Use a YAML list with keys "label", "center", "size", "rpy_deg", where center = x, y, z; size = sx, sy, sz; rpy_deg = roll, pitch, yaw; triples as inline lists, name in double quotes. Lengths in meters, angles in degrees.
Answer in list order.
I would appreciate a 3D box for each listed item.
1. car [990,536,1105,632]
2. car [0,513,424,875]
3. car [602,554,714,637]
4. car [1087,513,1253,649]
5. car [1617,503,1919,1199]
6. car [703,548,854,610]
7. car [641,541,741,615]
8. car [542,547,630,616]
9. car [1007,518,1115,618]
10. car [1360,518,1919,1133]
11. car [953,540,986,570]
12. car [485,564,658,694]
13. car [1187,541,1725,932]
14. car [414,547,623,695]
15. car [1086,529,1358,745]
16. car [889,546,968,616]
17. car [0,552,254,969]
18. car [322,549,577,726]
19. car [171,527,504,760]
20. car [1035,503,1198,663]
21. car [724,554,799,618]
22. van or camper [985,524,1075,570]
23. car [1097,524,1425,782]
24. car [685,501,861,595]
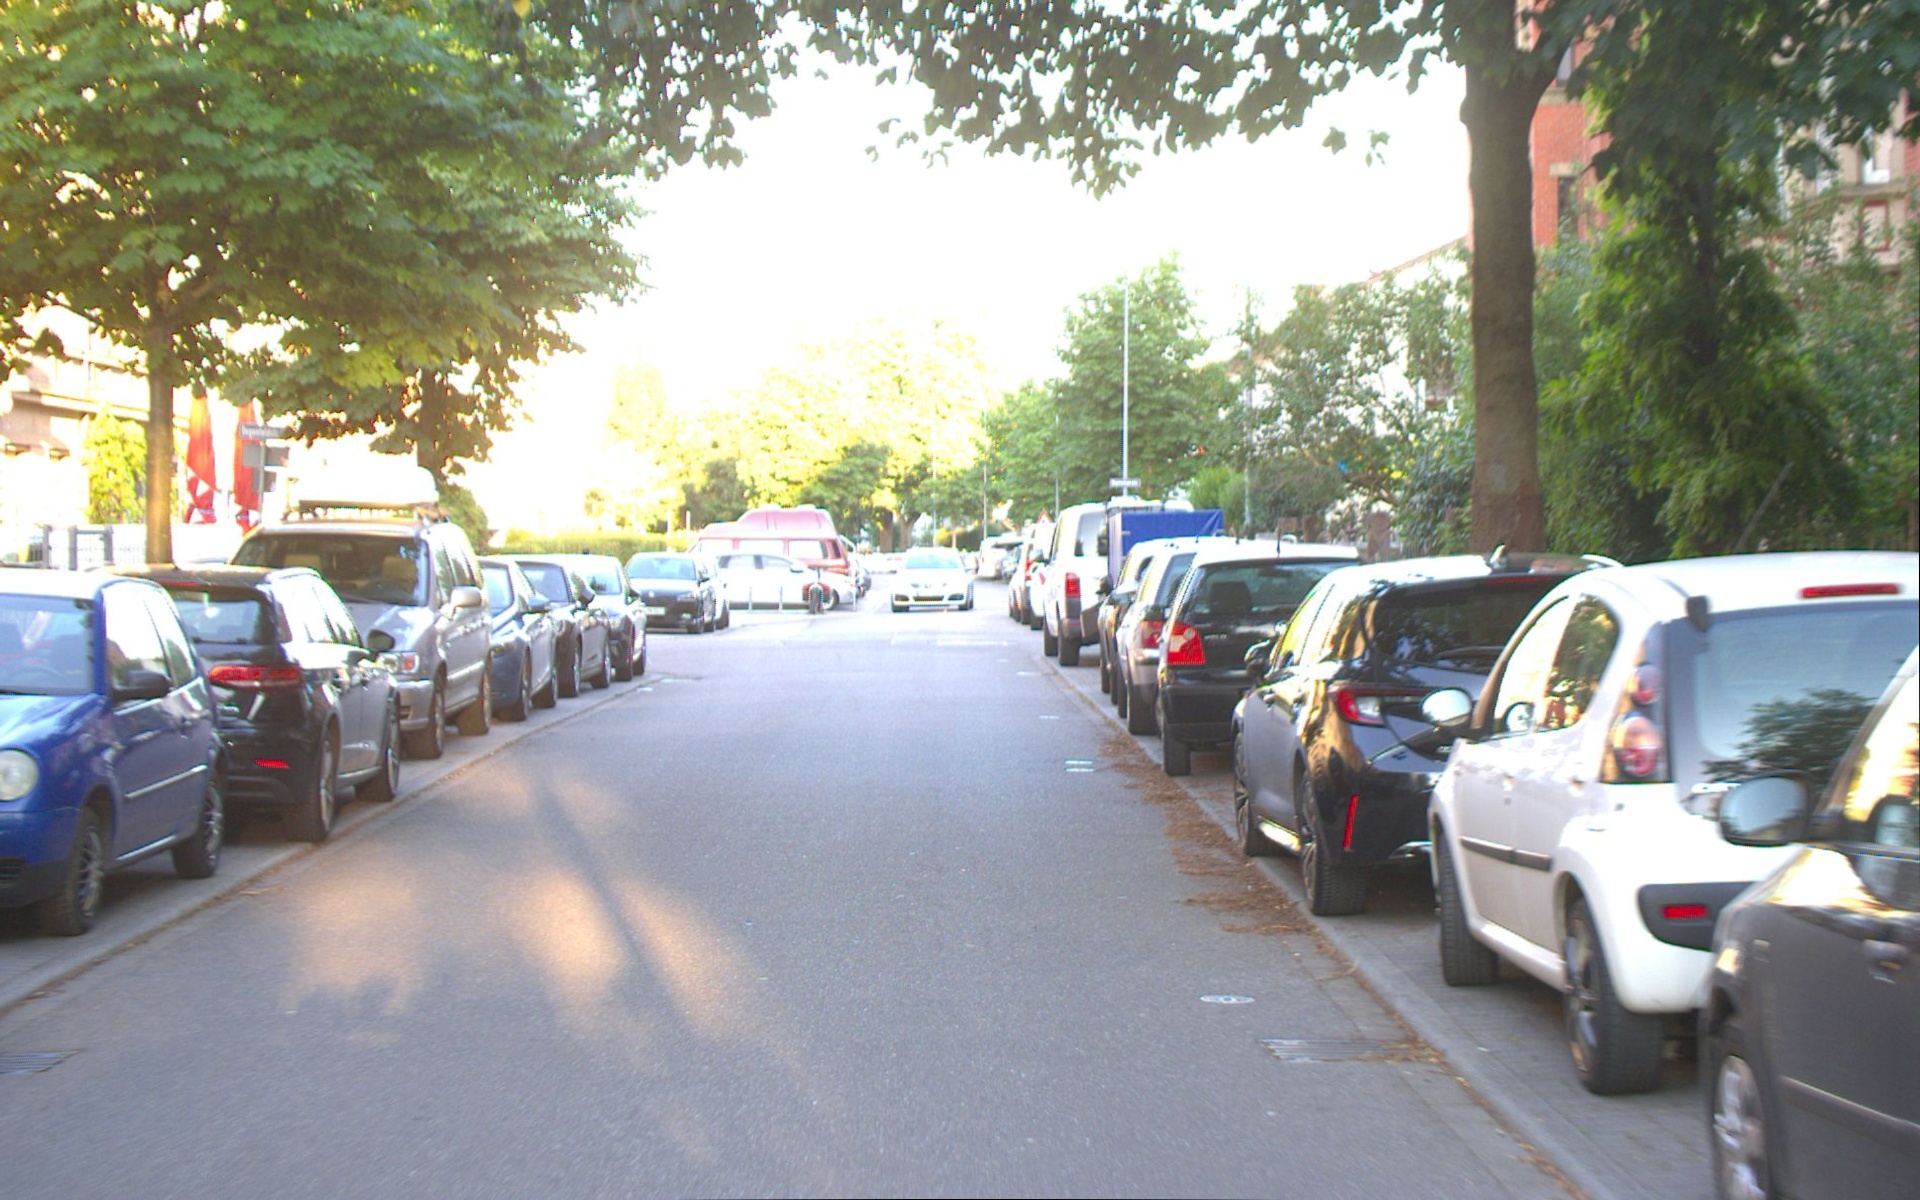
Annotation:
- label: "car"
  center: [1.487, -0.277, 59.589]
  size: [1.686, 1.600, 3.940]
  rpy_deg: [0, 0, -3]
- label: "car"
  center: [-4.148, 0.425, 19.072]
  size: [1.715, 1.784, 4.216]
  rpy_deg: [0, 1, 0]
- label: "car"
  center: [-5.534, -0.076, 63.240]
  size: [1.716, 1.481, 3.630]
  rpy_deg: [0, 0, 0]
- label: "car"
  center: [2.401, -0.226, 39.972]
  size: [1.538, 1.516, 3.432]
  rpy_deg: [0, 0, -3]
- label: "car"
  center: [2.357, 0.640, 5.987]
  size: [1.687, 1.600, 4.209]
  rpy_deg: [0, 0, 1]
- label: "car"
  center: [-4.409, -0.515, 83.479]
  size: [3.618, 1.456, 1.607]
  rpy_deg: [0, 1, -4]
- label: "car"
  center: [-5.400, -0.461, 69.320]
  size: [1.716, 1.436, 3.631]
  rpy_deg: [0, 1, 0]
- label: "car"
  center: [-8.117, -0.411, 74.797]
  size: [1.715, 1.436, 3.631]
  rpy_deg: [-1, 1, -4]
- label: "car"
  center: [1.848, -0.598, 64.139]
  size: [1.686, 1.805, 3.940]
  rpy_deg: [0, 0, -3]
- label: "car"
  center: [2.421, 0.571, 10.876]
  size: [1.686, 1.600, 3.749]
  rpy_deg: [0, 0, -3]
- label: "car"
  center: [0.479, -2.410, 182.842]
  size: [1.715, 1.590, 3.483]
  rpy_deg: [0, 1, 0]
- label: "car"
  center: [-4.593, 0.309, 41.059]
  size: [1.599, 1.436, 3.837]
  rpy_deg: [0, 1, 0]
- label: "car"
  center: [2.053, 0.509, 15.362]
  size: [1.687, 1.436, 4.210]
  rpy_deg: [-2, 0, -1]
- label: "car"
  center: [-4.517, 0.179, 35.599]
  size: [1.715, 1.436, 3.631]
  rpy_deg: [0, 1, 0]
- label: "car"
  center: [2.026, 0.259, 27.595]
  size: [1.686, 1.600, 3.940]
  rpy_deg: [0, 0, -3]
- label: "car"
  center: [-0.739, -0.469, 81.115]
  size: [1.813, 1.590, 3.483]
  rpy_deg: [0, 1, 0]
- label: "car"
  center: [-4.301, 0.586, 14.918]
  size: [1.715, 1.561, 3.788]
  rpy_deg: [0, 1, 0]
- label: "car"
  center: [-4.507, 0.289, 30.850]
  size: [1.715, 1.460, 3.987]
  rpy_deg: [0, 1, 0]
- label: "car"
  center: [-4.567, 0.263, 25.829]
  size: [1.715, 1.590, 4.519]
  rpy_deg: [0, 1, -1]
- label: "car"
  center: [1.945, -0.223, 43.693]
  size: [1.680, 1.934, 3.881]
  rpy_deg: [0, 0, -3]
- label: "car"
  center: [-4.657, -0.337, 80.472]
  size: [1.715, 1.436, 3.631]
  rpy_deg: [0, 1, -4]
- label: "van or camper"
  center: [4.232, -3.211, 208.560]
  size: [5.262, 2.782, 1.552]
  rpy_deg: [0, 1, -11]
- label: "car"
  center: [1.963, 0.314, 23.451]
  size: [1.686, 1.600, 3.940]
  rpy_deg: [0, 0, -3]
- label: "car"
  center: [-4.653, -1.304, 86.000]
  size: [4.349, 2.310, 1.746]
  rpy_deg: [0, 1, -2]
